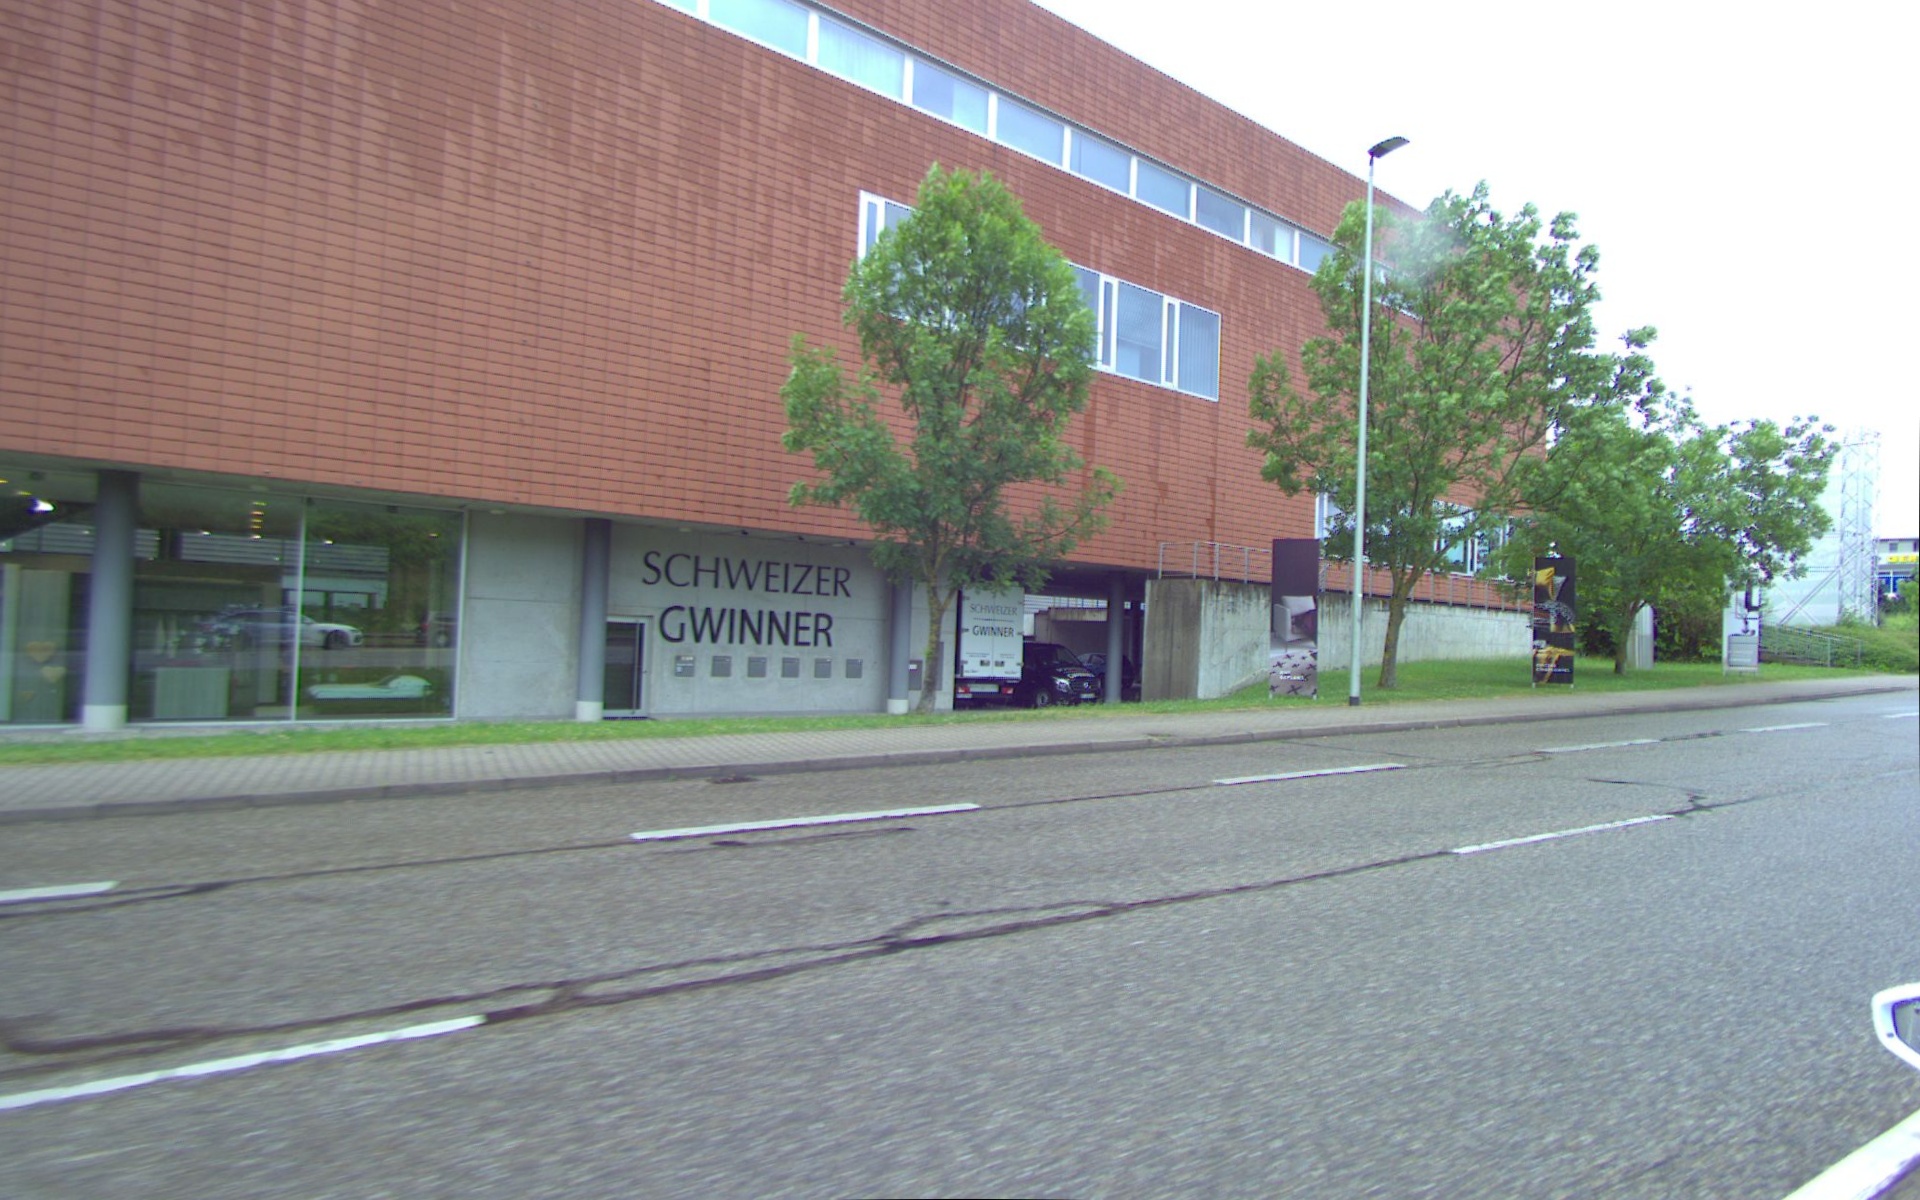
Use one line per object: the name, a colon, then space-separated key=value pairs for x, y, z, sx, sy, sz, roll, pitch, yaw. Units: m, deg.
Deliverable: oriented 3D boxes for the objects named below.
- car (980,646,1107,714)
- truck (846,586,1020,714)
car: x=2.390 y=2.275 z=29.606 sx=1.663 sy=1.773 sz=4.018 roll=1 pitch=-2 yaw=-32
truck: x=-0.953 y=1.409 z=29.482 sx=2.004 sy=3.351 sz=6.094 roll=2 pitch=-2 yaw=-35
